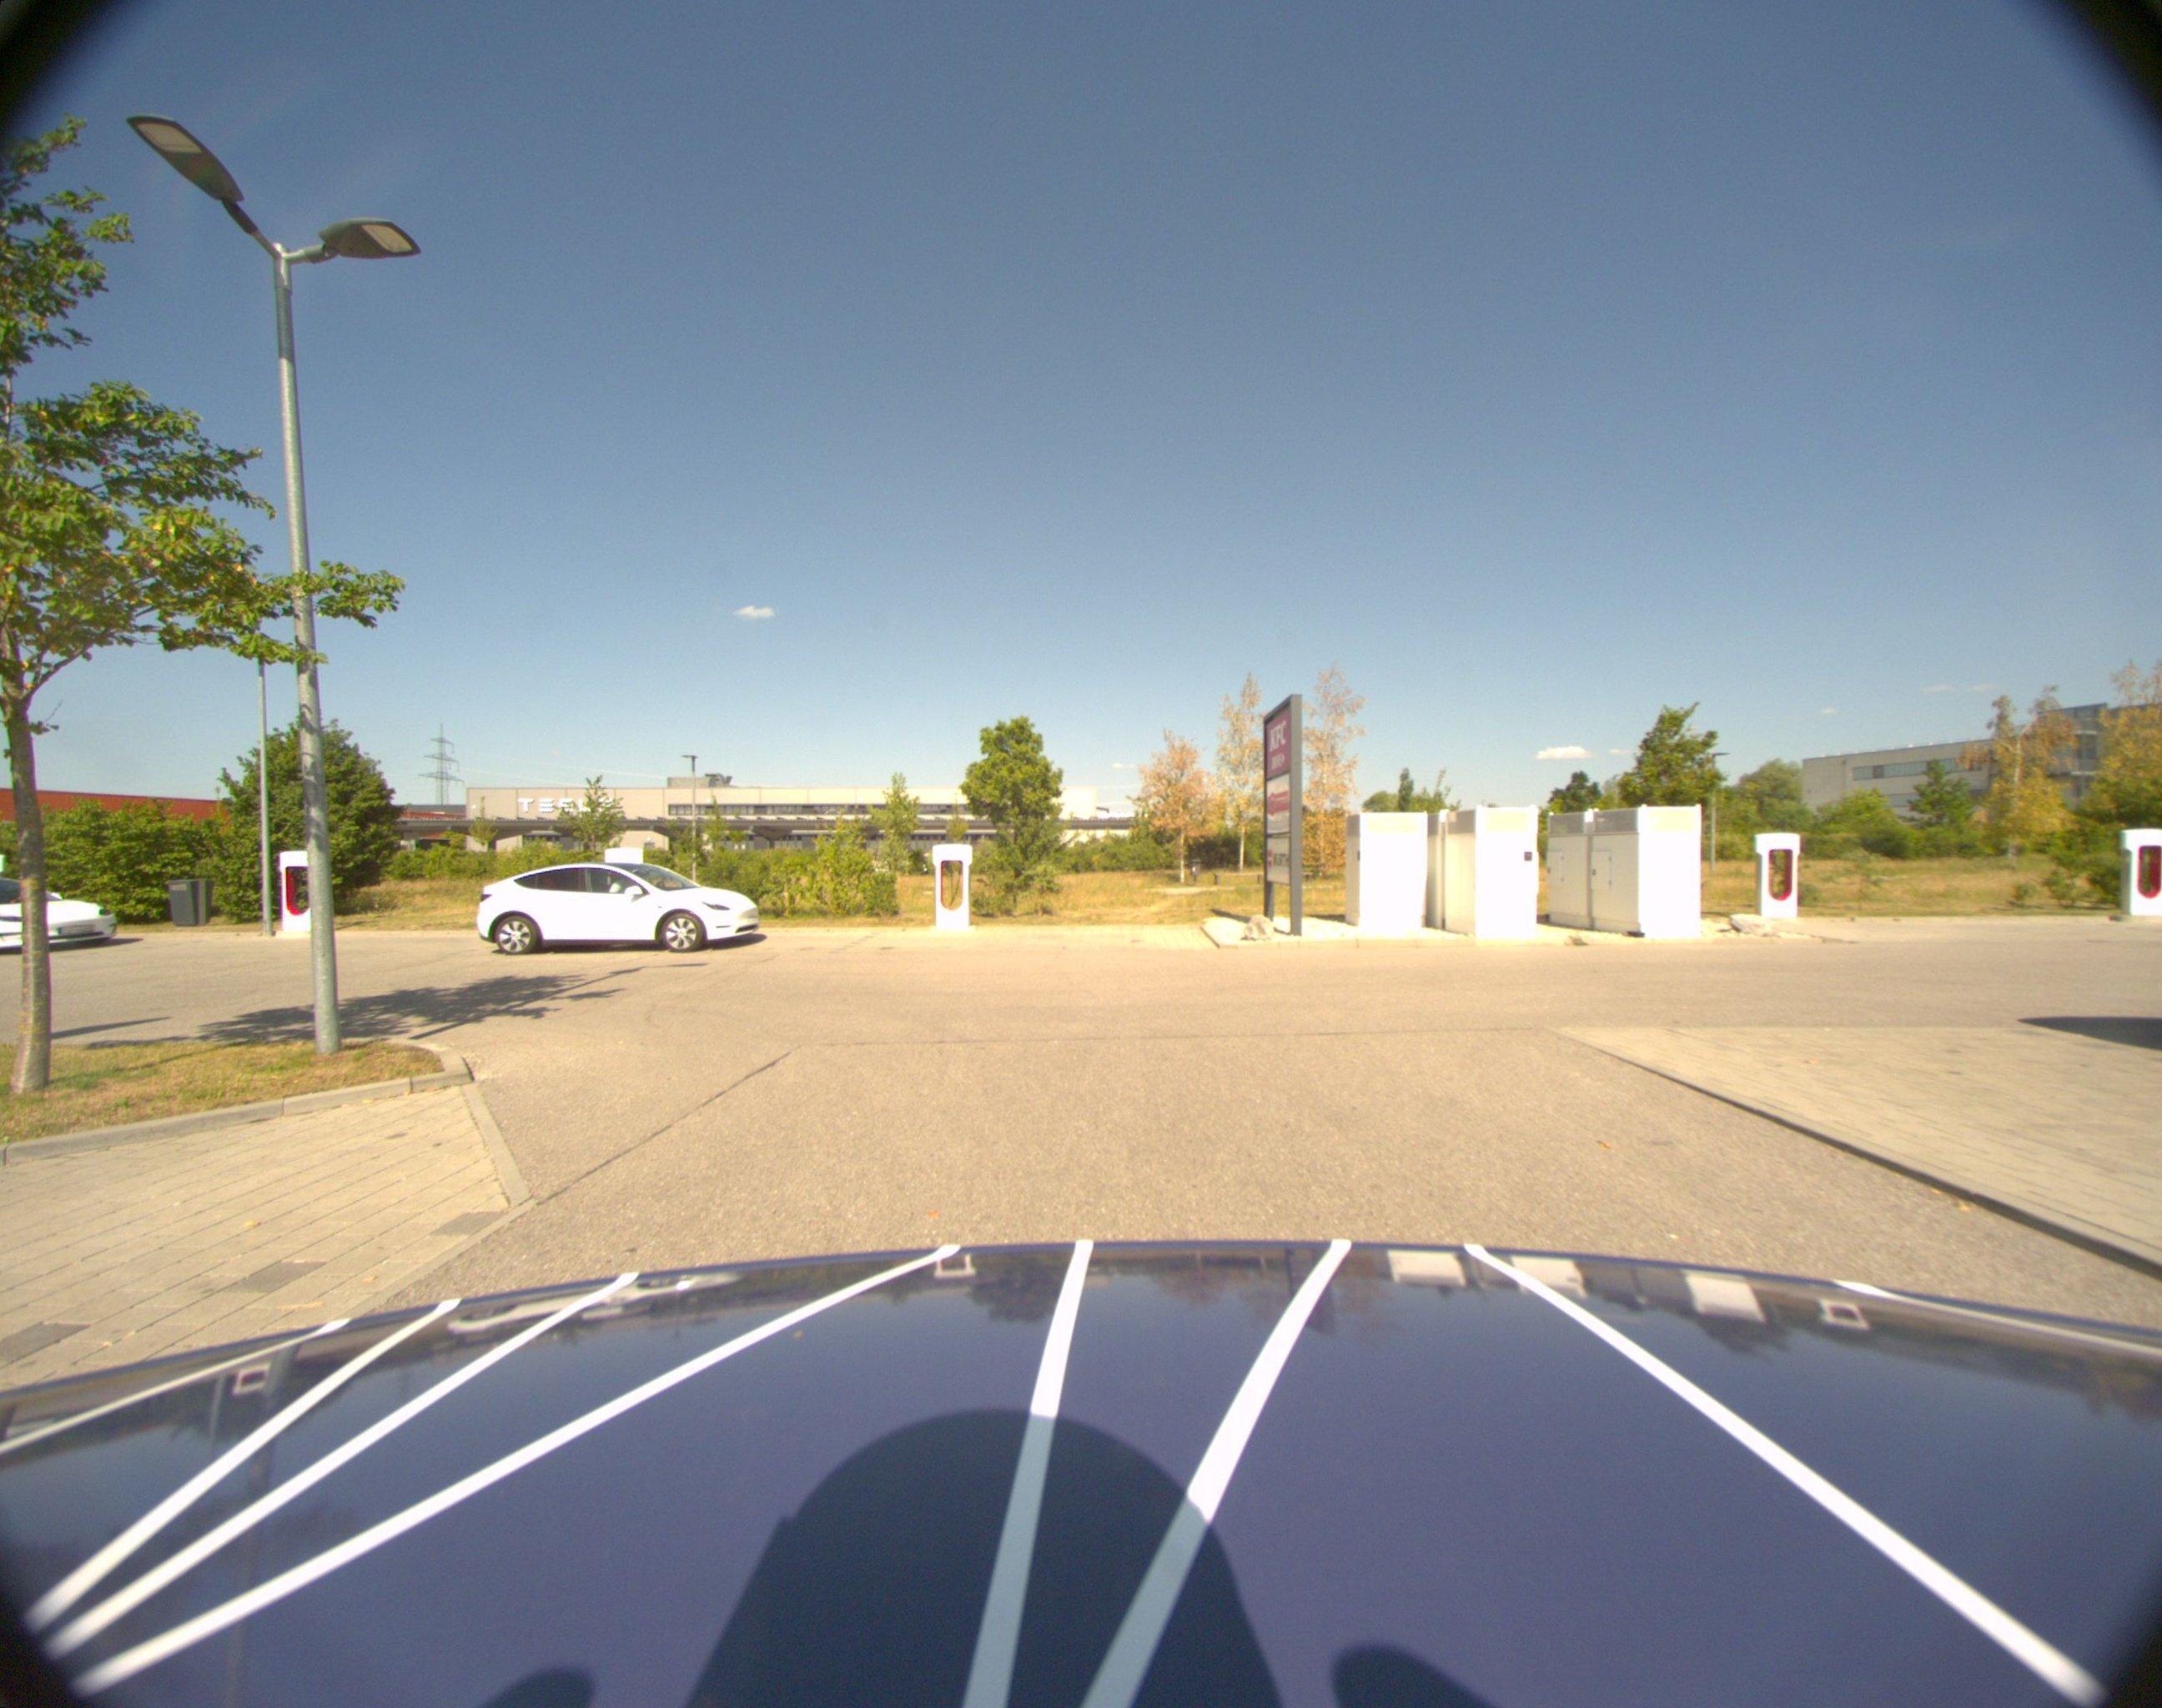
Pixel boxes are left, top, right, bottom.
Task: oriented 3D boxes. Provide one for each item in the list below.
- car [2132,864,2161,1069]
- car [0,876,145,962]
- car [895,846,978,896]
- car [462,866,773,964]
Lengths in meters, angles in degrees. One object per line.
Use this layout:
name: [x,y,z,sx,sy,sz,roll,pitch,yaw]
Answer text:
car: [8.249,0.784,3.193,1.728,1.403,4.314,-1,1,1]
car: [-21.310,1.224,14.648,4.329,1.470,1.842,-1,1,2]
car: [-5.476,0.600,29.438,1.916,1.740,4.258,-1,1,7]
car: [-8.378,1.077,14.070,4.573,1.584,1.842,-1,1,-1]
